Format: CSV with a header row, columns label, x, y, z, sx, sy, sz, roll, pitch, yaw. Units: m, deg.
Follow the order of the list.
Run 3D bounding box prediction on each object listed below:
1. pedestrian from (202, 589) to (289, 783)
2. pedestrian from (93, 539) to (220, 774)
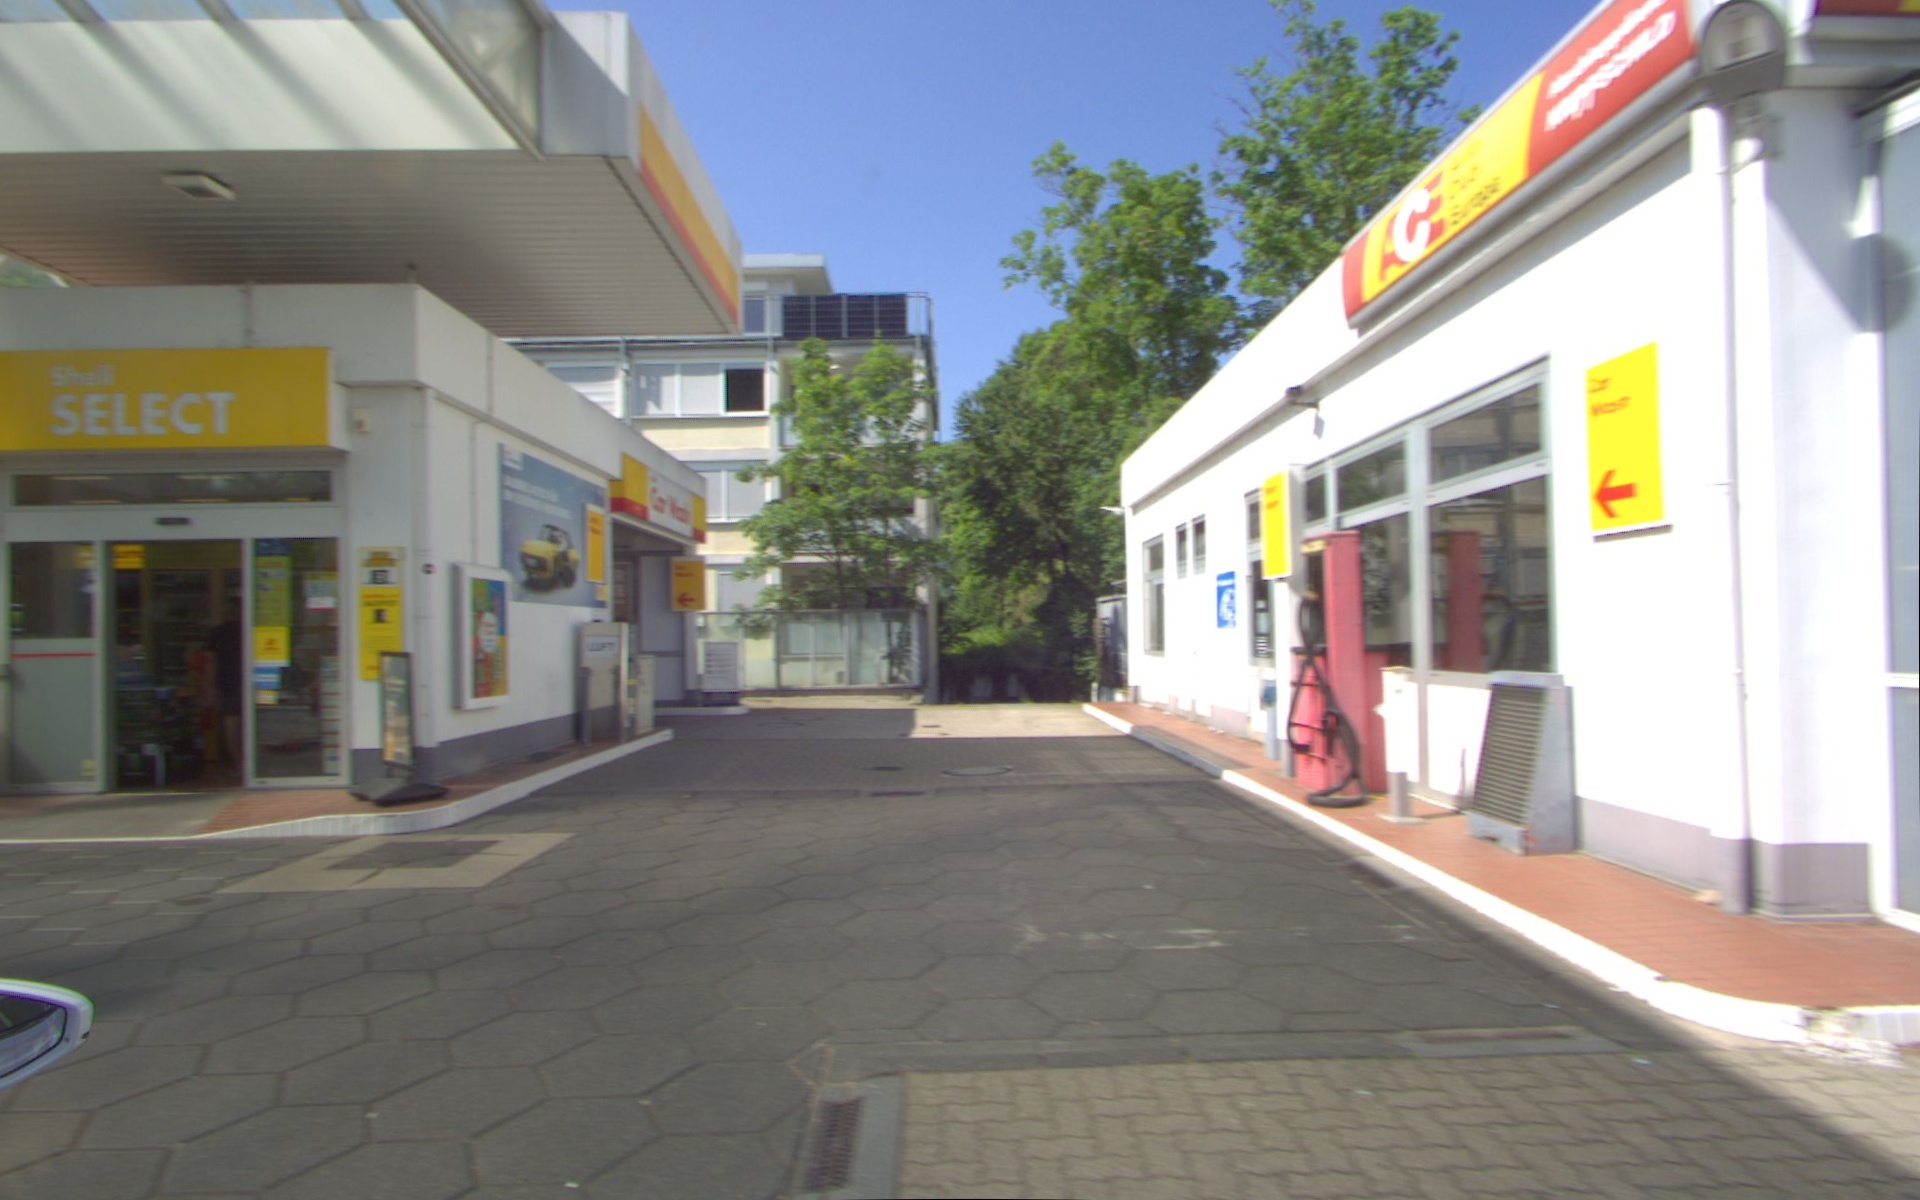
label,x,y,z,sx,sy,sz,roll,pitch,yaw
pedestrian,-6.832,0.805,9.594,0.564,1.784,0.529,0,-1,-22
pedestrian,-7.307,0.499,9.141,0.611,2.039,0.742,-1,-1,-10
